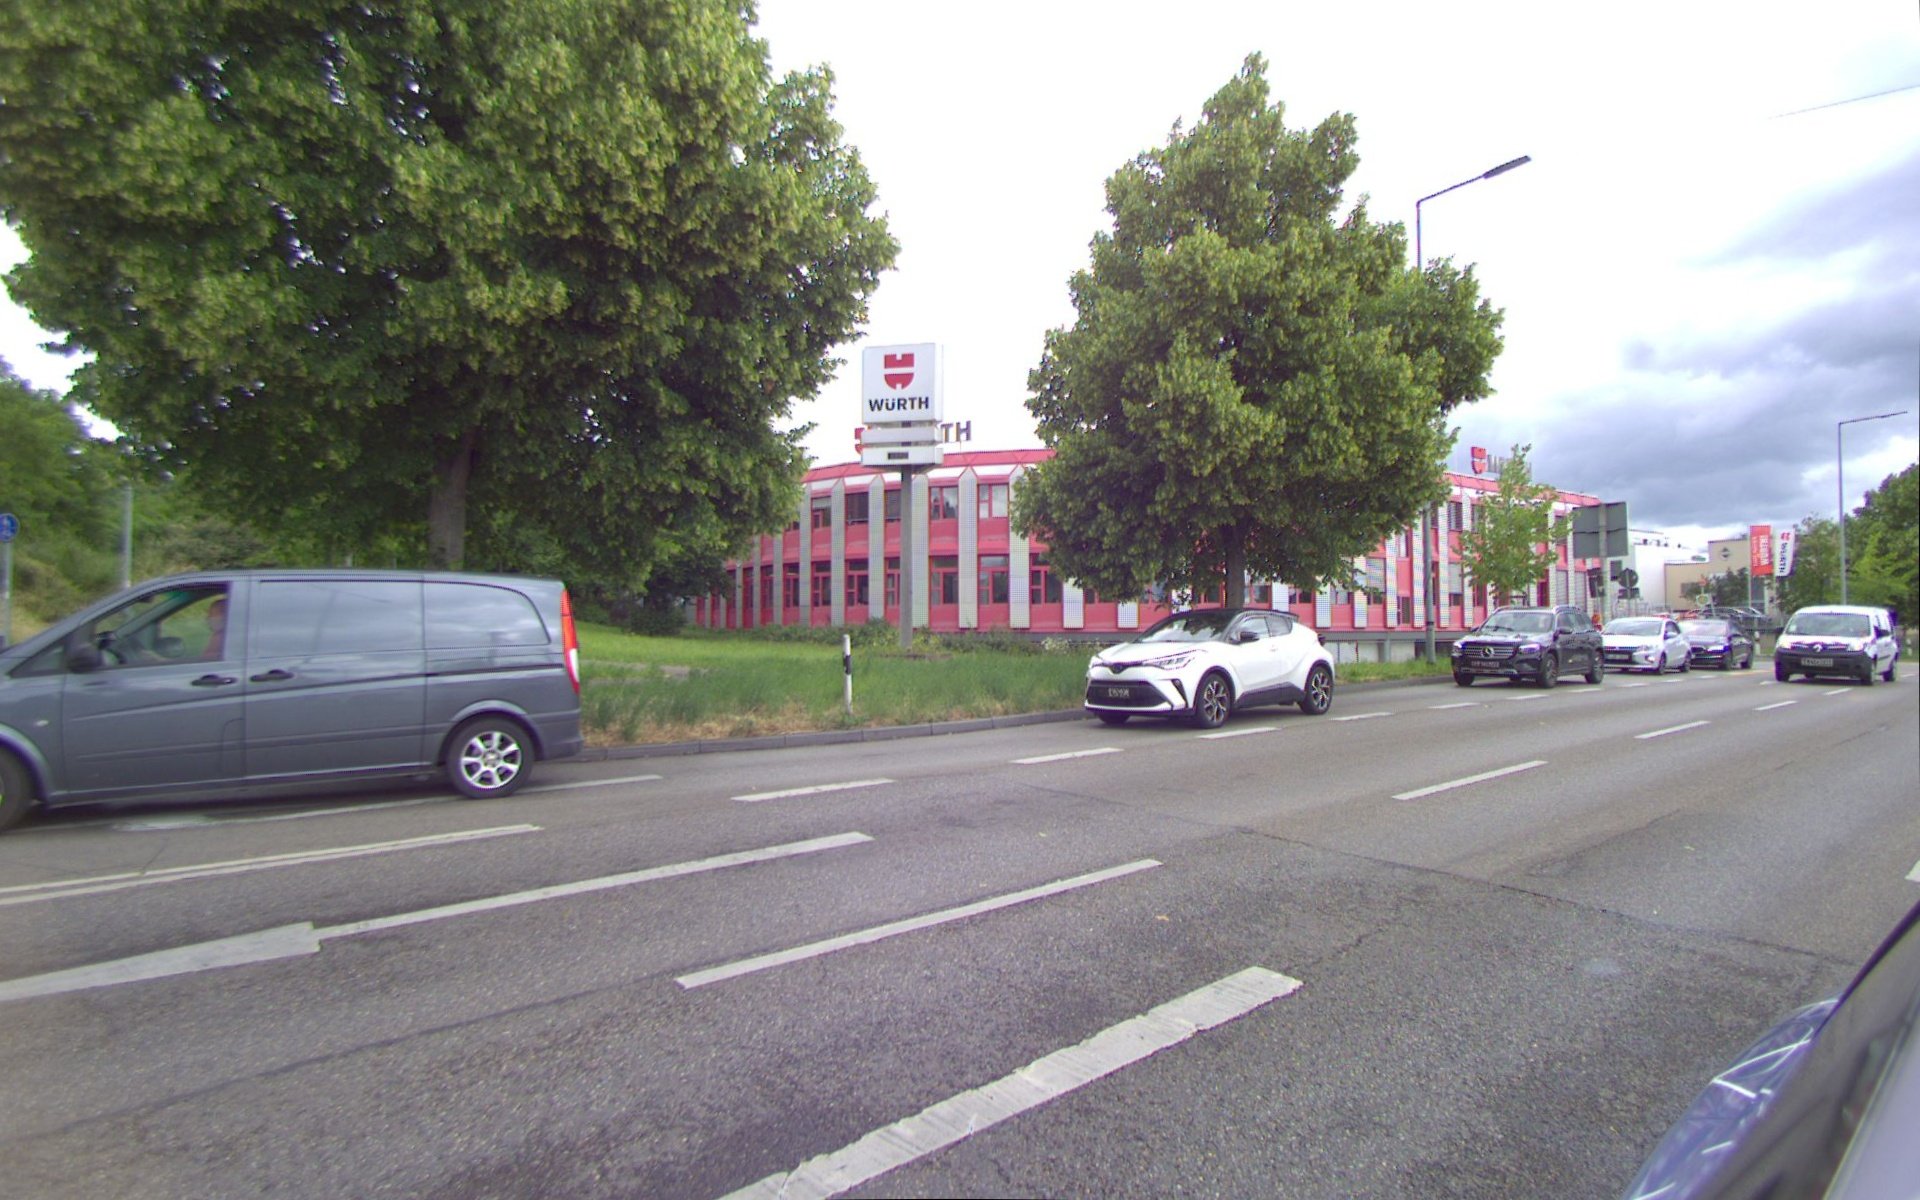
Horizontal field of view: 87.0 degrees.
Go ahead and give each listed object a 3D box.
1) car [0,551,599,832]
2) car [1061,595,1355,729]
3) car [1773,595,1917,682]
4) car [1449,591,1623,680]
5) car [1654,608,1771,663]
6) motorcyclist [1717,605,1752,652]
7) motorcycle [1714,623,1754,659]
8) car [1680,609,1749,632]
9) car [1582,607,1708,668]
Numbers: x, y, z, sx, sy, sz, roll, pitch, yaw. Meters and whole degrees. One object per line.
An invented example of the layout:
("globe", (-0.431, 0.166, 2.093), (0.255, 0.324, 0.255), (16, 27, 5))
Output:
("car", (-5.495, 0.637, 8.223), (4.625, 1.858, 1.924), (0, -3, -26))
("car", (3.511, 0.773, 13.903), (4.230, 1.555, 1.783), (0, -3, -41))
("car", (20.973, 0.836, 23.914), (4.755, 1.825, 1.997), (1, 0, -42))
("car", (12.212, 0.744, 21.346), (4.346, 1.671, 1.784), (3, -1, -40))
("car", (22.212, 1.056, 29.818), (4.446, 1.464, 1.784), (3, -1, -40))
("motorcyclist", (25.216, 0.938, 32.947), (0.918, 1.510, 0.748), (2, -3, -44))
("motorcycle", (25.160, 1.324, 32.872), (1.911, 1.162, 0.748), (2, -3, -45))
("car", (61.805, 1.685, 82.963), (1.752, 1.776, 4.247), (0, 0, -39))
("car", (18.184, 0.994, 26.819), (3.766, 1.461, 1.784), (3, -1, -40))
